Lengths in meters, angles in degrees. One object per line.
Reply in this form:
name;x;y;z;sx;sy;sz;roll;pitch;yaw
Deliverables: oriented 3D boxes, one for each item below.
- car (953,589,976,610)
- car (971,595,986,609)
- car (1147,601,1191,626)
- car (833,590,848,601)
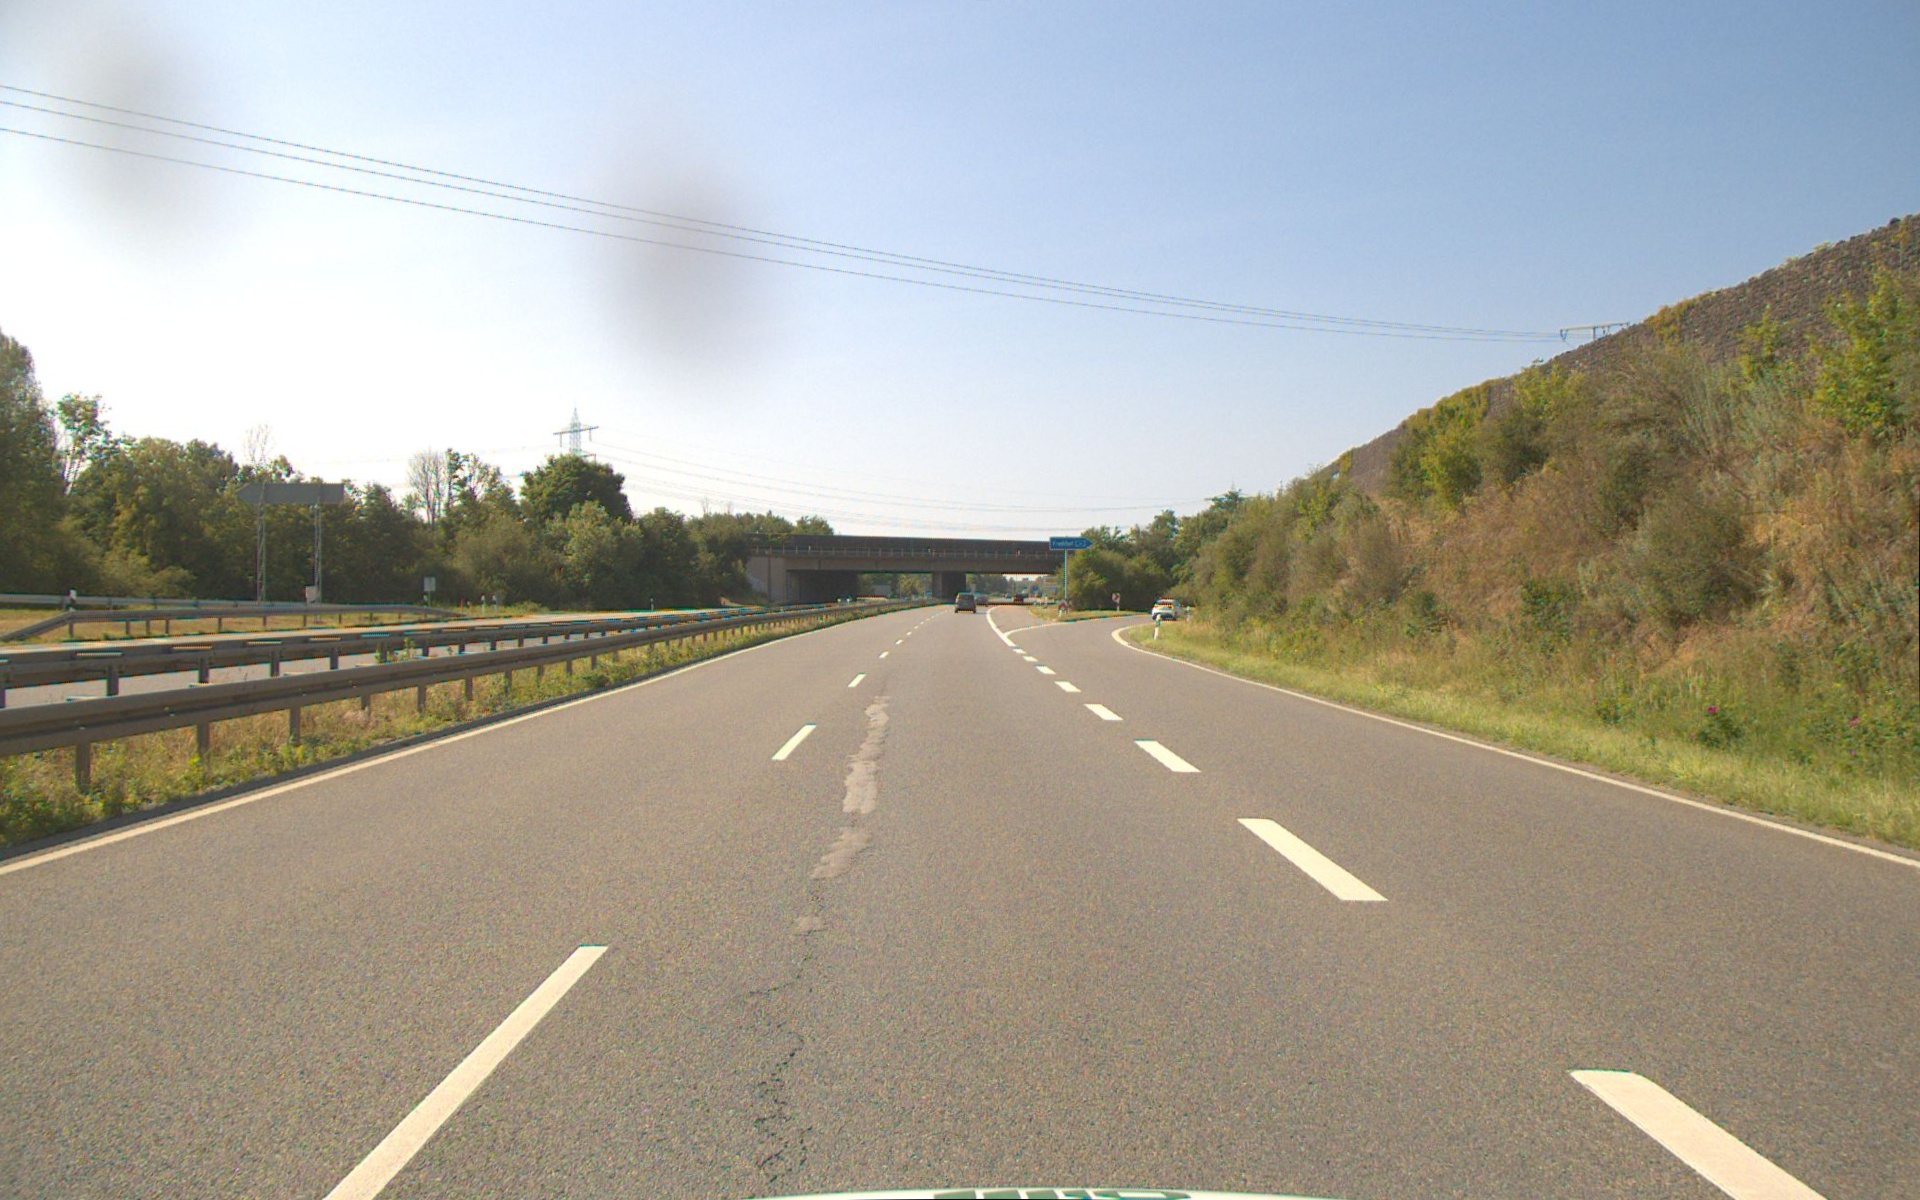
car;0.415;-0.052;138.375;1.811;1.673;4.001;1;0;2
car;2.367;0.249;209.485;1.811;1.673;4.001;1;0;2
car;15.224;1.006;120.190;1.763;1.694;3.993;3;1;29
car;-16.216;-0.642;224.249;1.640;1.434;3.763;2;0;1
